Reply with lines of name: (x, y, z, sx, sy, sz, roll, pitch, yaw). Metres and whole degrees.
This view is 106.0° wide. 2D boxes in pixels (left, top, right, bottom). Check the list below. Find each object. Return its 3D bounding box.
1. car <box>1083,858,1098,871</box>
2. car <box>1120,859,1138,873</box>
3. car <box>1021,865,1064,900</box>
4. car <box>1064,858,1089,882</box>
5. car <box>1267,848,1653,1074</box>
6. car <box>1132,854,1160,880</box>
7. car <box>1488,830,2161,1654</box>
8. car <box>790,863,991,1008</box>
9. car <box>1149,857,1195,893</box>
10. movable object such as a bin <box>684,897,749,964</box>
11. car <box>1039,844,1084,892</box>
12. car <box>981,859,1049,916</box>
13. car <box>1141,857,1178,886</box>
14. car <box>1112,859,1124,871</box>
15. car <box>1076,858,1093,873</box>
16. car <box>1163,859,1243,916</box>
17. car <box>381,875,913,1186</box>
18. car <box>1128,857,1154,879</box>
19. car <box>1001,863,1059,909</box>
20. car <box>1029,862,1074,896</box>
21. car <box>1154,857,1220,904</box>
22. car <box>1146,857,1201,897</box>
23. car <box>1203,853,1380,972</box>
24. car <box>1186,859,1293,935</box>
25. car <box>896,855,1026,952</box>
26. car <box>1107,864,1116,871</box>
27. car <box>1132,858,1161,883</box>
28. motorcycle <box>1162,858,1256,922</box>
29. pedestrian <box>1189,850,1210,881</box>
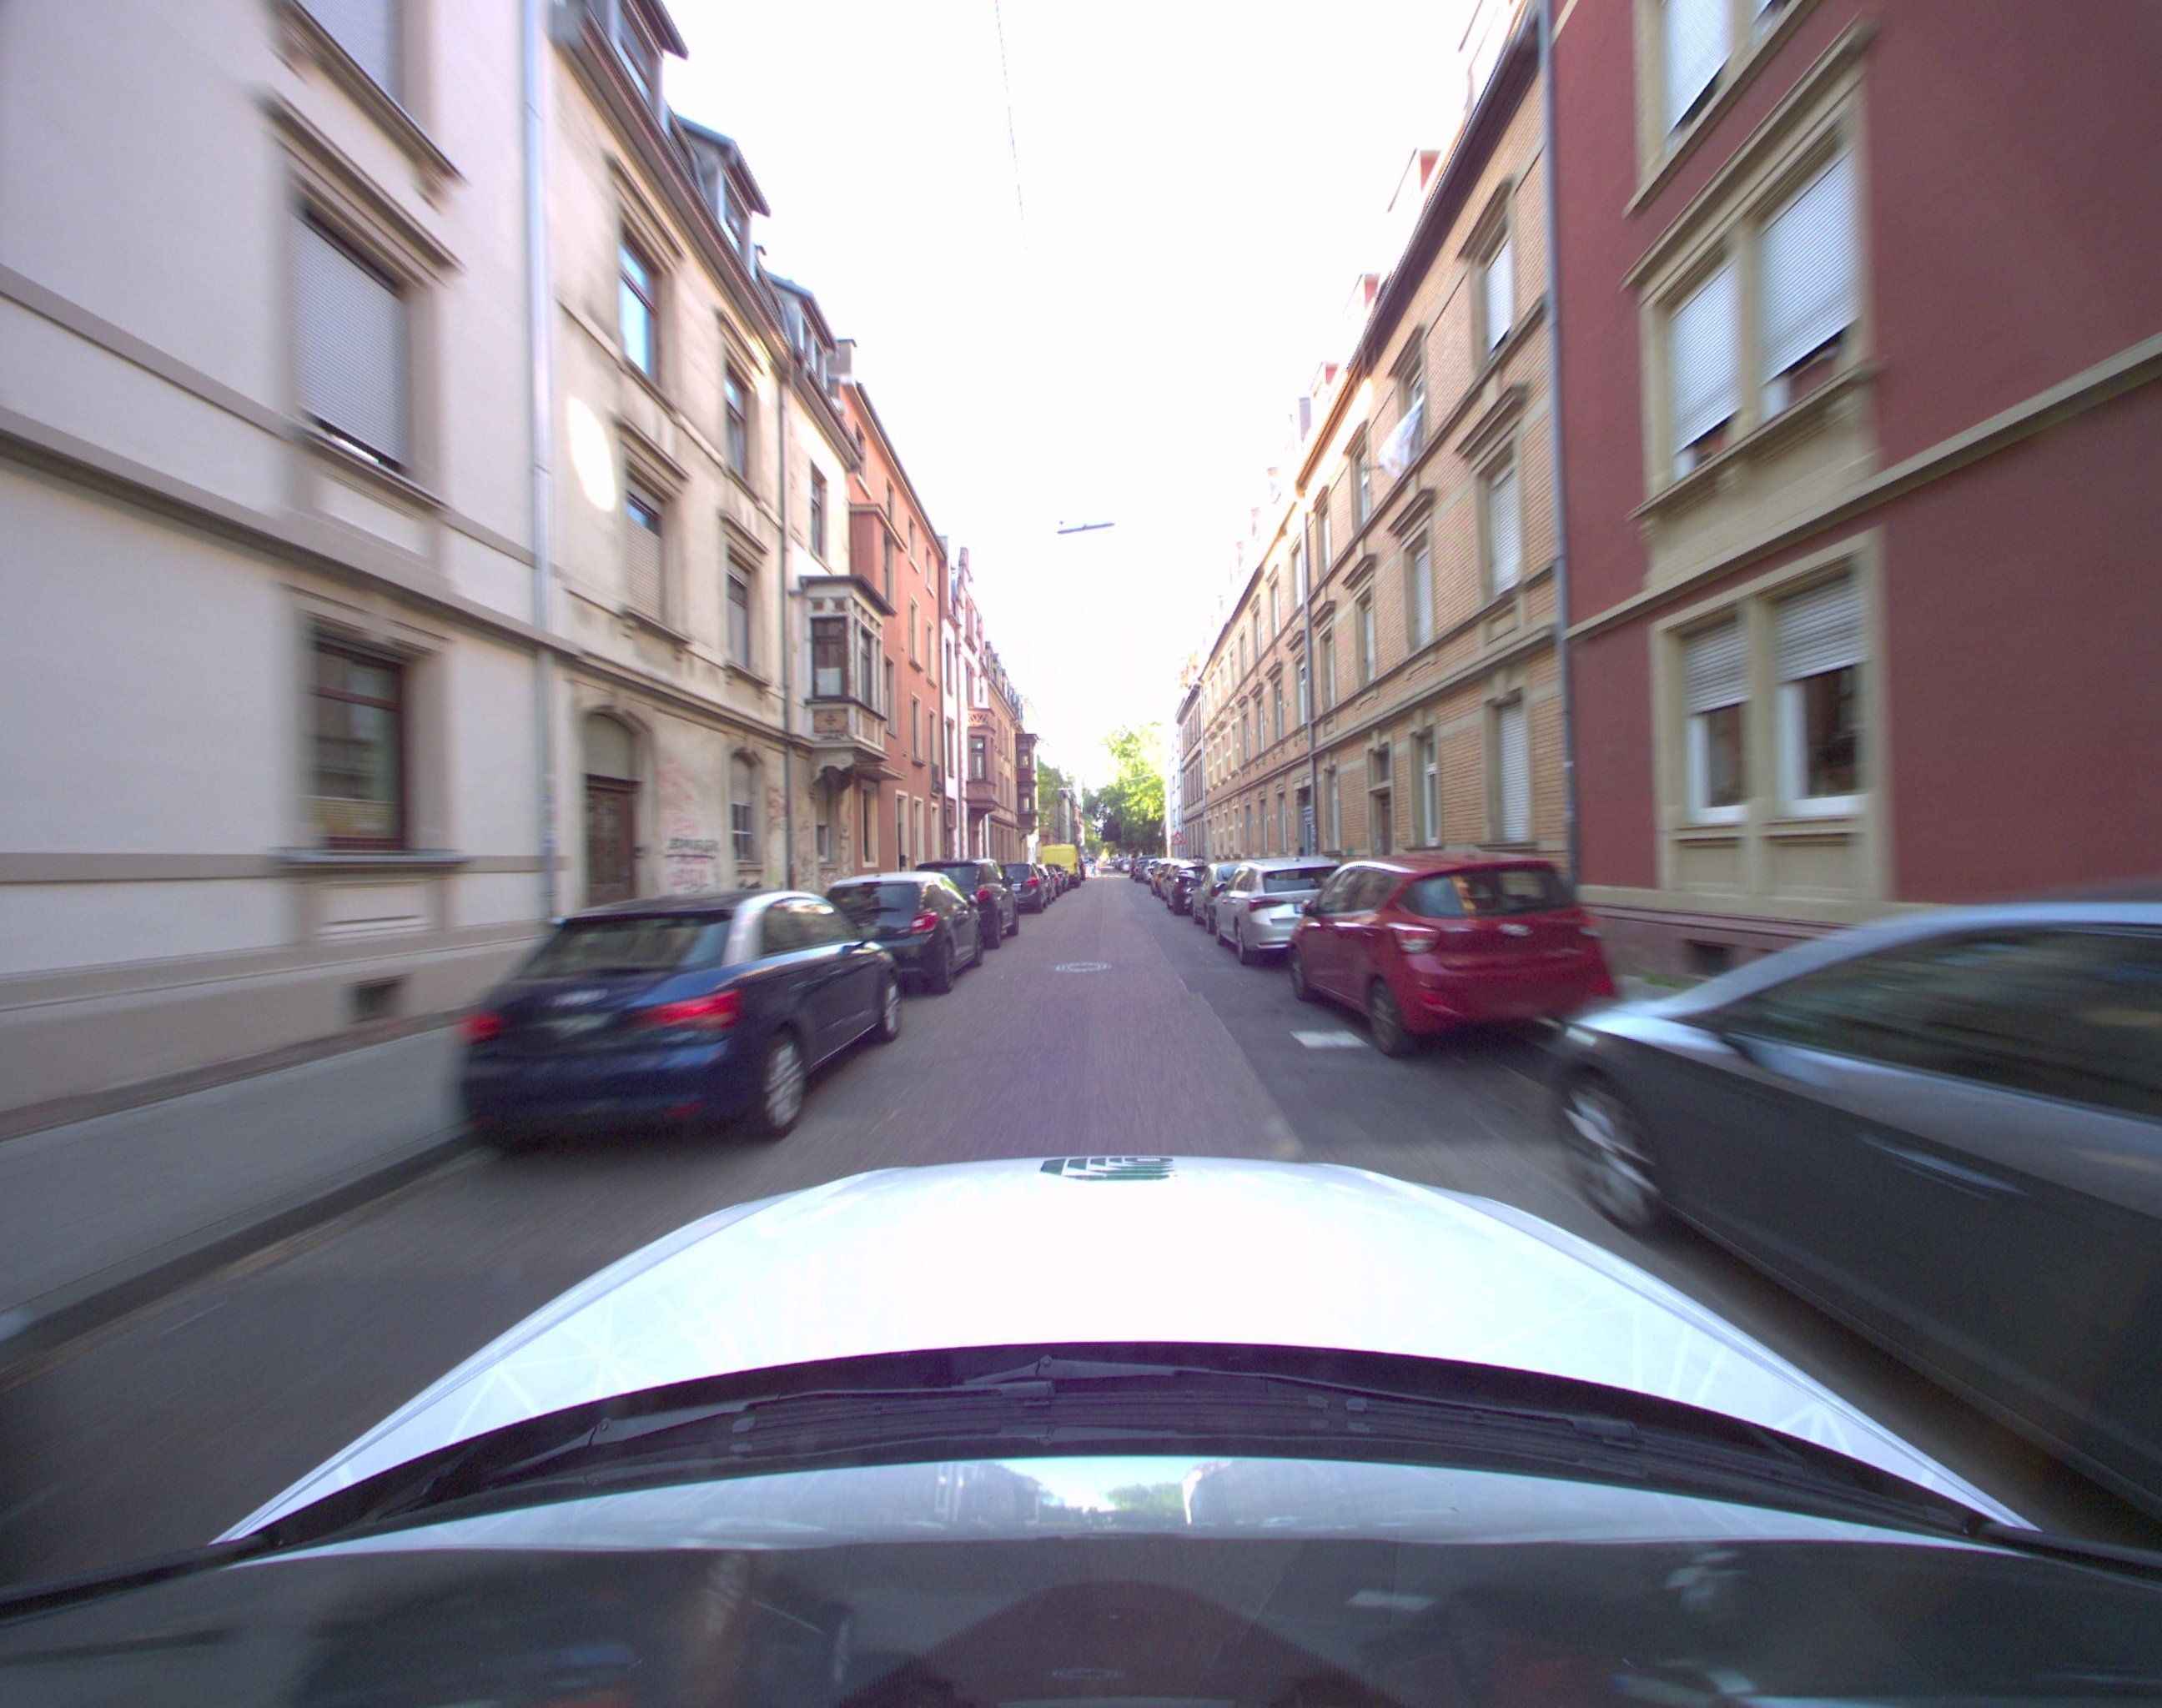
car: (1.617, 1.775, 139.642, 2.300, 2.114, 5.173, -2, -1, 3)
car: (5.637, 1.421, 95.378, 1.719, 1.522, 3.998, -2, 0, -1)
car: (-1.684, 1.238, 36.597, 1.612, 1.326, 3.613, -5, -1, 1)
car: (-0.359, 1.212, 62.622, 1.813, 1.766, 4.333, -2, -1, -1)
car: (3.048, 0.733, 7.563, 1.654, 1.479, 4.023, -2, 0, 0)
car: (4.831, 0.936, 61.278, 1.747, 1.786, 4.725, -4, 0, 1)
car: (2.821, 0.694, 2.041, 1.670, 1.503, 4.071, -2, 0, 2)
car: (-2.324, 0.922, 10.939, 1.637, 1.455, 3.839, -4, 0, 1)
car: (4.349, 0.986, 39.310, 1.715, 1.480, 4.083, -6, -1, 1)
movable object such as a bin: (-5.457, 1.137, 12.236, 0.610, 0.920, 0.734, -2, -1, 1)
car: (-1.082, 0.778, 47.952, 2.167, 2.508, 5.879, -4, -1, 1)
car: (-2.014, 0.994, 25.879, 1.775, 1.606, 4.069, -2, 0, 0)
car: (4.755, 1.011, 49.947, 1.748, 1.518, 4.443, -6, 0, 1)
car: (7.587, 2.221, 166.818, 2.153, 2.255, 4.525, -2, -1, 1)
car: (0.434, 1.475, 101.722, 1.874, 1.707, 4.002, -3, -1, 2)
car: (3.394, 0.887, 23.416, 1.770, 1.397, 4.319, -2, 0, 2)
car: (-2.521, 0.911, 5.874, 1.775, 1.403, 3.742, -2, 0, 0)
car: (4.814, 1.106, 65.949, 1.894, 1.640, 4.391, -2, -1, 1)
car: (-1.857, 1.142, 30.832, 1.688, 1.474, 3.920, -5, 0, 2)
car: (-1.442, 1.234, 41.276, 1.711, 1.412, 3.902, -7, -1, 5)
car: (3.769, 0.903, 29.599, 1.720, 1.417, 4.093, -6, 0, 0)
car: (3.849, 0.929, 34.344, 1.748, 1.446, 4.068, -5, -1, 0)
car: (3.054, 0.769, 12.733, 1.755, 1.484, 4.404, -2, 0, 2)
car: (3.326, 0.845, 17.795, 1.685, 1.406, 3.994, -2, 0, 2)
car: (-2.213, 0.865, 16.161, 1.754, 1.617, 4.191, -2, 0, 2)
car: (7.680, 3.455, 204.742, 1.986, 1.728, 4.001, -2, 0, 1)
car: (4.474, 1.110, 55.843, 1.746, 1.452, 4.291, -6, 0, 3)
motorcycle: (3.221, 0.888, 20.459, 2.229, 1.536, 0.883, 1, -1, -25)
pedestrian: (6.609, 0.636, 45.371, 0.659, 1.630, 0.870, -2, -2, -40)
